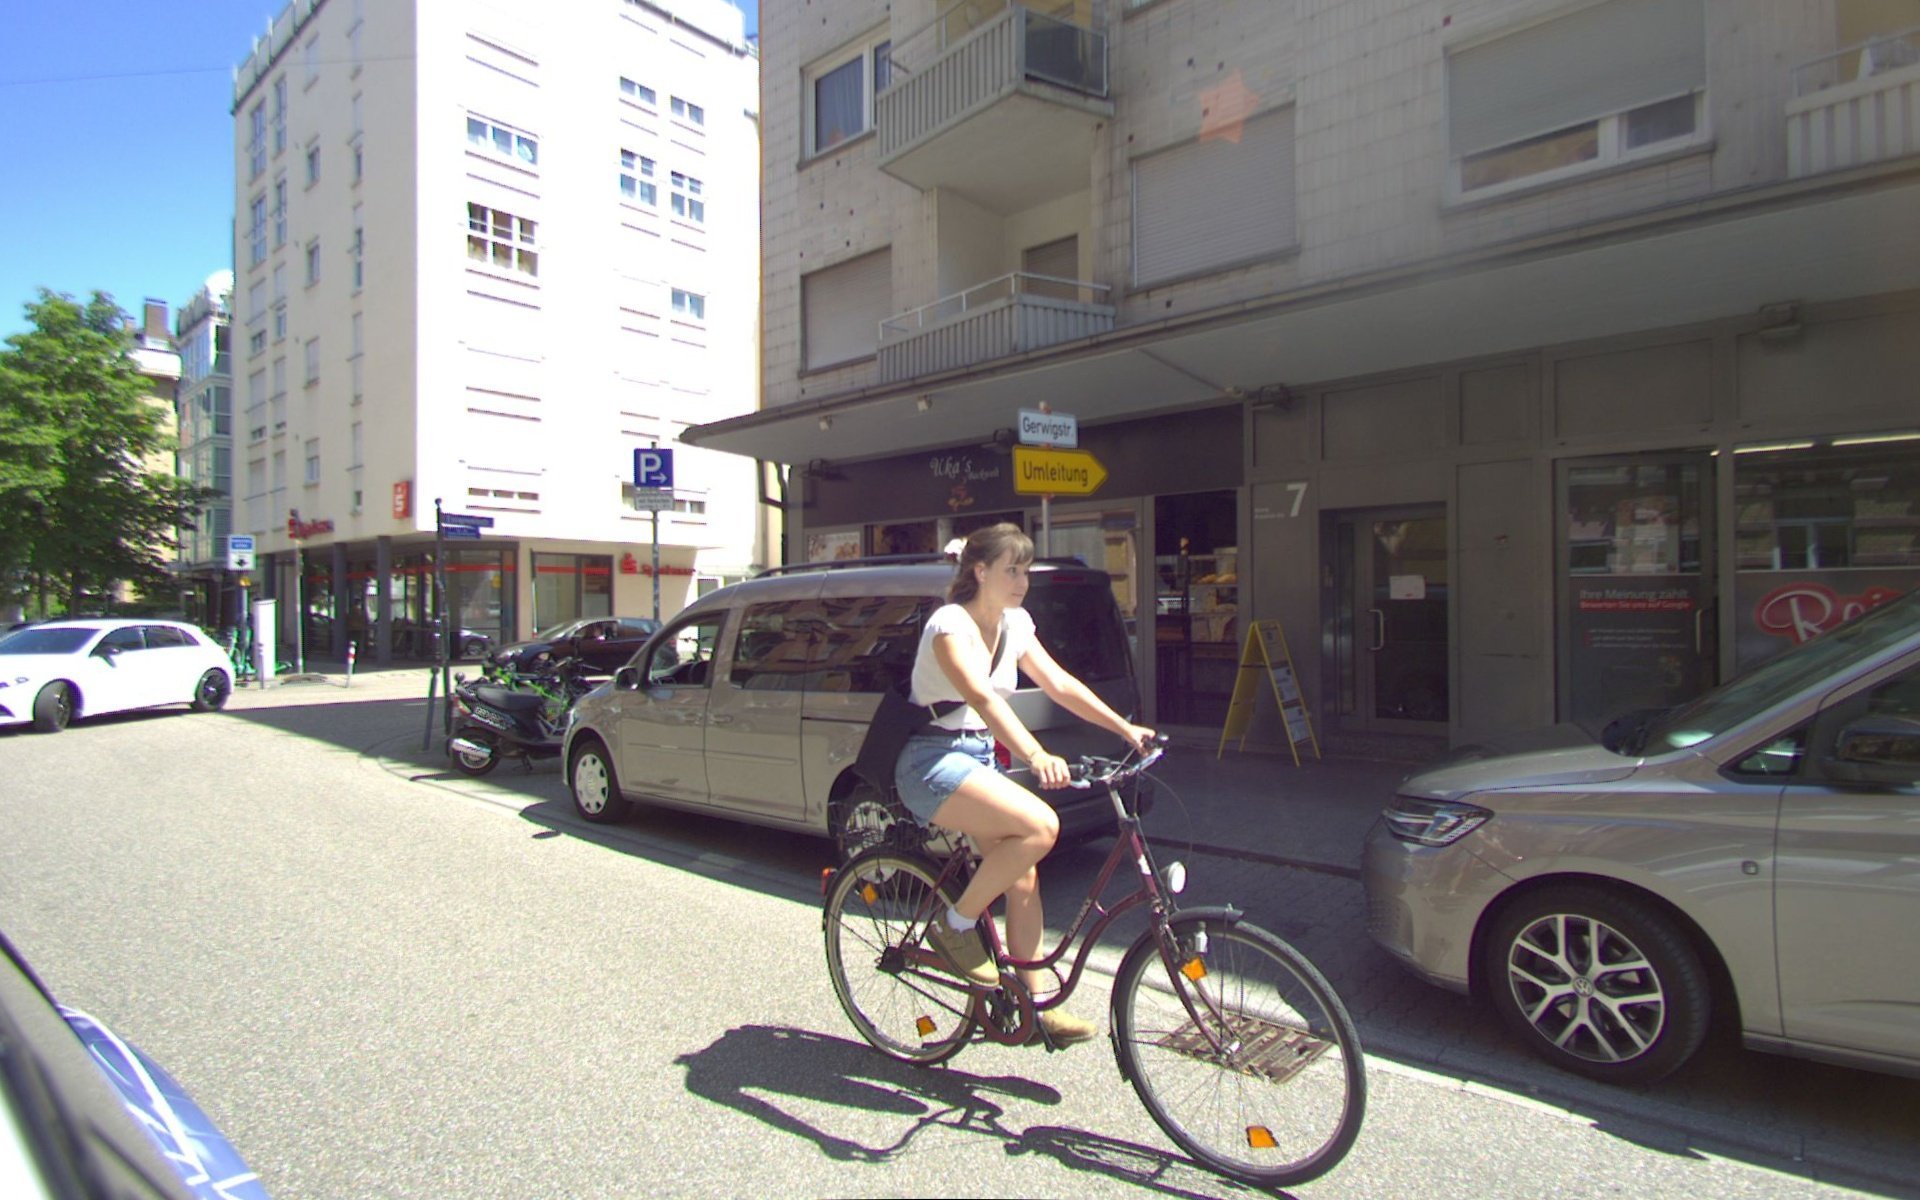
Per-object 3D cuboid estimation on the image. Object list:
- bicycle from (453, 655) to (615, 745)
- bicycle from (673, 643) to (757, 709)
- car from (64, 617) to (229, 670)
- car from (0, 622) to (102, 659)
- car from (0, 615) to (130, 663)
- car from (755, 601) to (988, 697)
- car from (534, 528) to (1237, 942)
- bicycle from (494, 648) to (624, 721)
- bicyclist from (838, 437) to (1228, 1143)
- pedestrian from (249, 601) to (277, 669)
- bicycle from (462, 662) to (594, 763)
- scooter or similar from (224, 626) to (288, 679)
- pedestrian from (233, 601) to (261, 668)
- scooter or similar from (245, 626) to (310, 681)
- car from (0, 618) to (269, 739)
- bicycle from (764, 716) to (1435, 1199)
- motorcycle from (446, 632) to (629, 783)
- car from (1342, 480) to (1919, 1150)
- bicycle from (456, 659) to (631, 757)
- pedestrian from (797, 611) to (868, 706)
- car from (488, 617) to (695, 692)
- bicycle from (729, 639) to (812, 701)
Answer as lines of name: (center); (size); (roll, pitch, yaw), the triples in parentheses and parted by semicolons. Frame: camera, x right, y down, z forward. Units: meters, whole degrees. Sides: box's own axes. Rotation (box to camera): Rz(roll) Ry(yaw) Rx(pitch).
bicycle: (-4.953, 1.150, 11.813); (1.684, 0.964, 0.411); (-1, 0, -6)
bicycle: (-3.929, 1.193, 16.164); (1.711, 0.964, 0.405); (-1, 0, 42)
car: (-25.550, 1.314, 31.872); (1.651, 1.540, 3.835); (-2, -1, 40)
car: (-39.490, 1.714, 43.471); (1.651, 1.507, 3.835); (-2, -1, 40)
car: (-35.240, 1.497, 39.786); (1.651, 1.760, 3.835); (-2, -1, 40)
car: (-1.537, 0.865, 18.629); (1.999, 1.441, 3.946); (-6, -2, 41)
car: (-0.831, 0.634, 6.803); (4.898, 1.843, 1.770); (-2, 0, 41)
bicycle: (-5.555, 1.164, 14.035); (1.692, 0.964, 0.409); (-1, 0, 9)
bicyclist: (0.197, 0.470, 3.031); (0.978, 1.719, 0.616); (-2, -1, 41)
pedestrian: (-22.211, 1.101, 32.257); (0.599, 2.141, 0.496); (0, -1, -13)
bicycle: (-4.438, 1.147, 10.426); (1.194, 0.964, 0.337); (-1, 0, -6)
scooter or similar: (-16.243, 1.202, 23.353); (0.289, 1.176, 1.177); (-2, -1, 39)
pedestrian: (-23.039, 1.120, 32.701); (0.605, 2.141, 0.492); (-1, -1, 22)
scooter or similar: (-15.334, 1.191, 22.748); (0.289, 1.176, 1.177); (-2, -1, 39)
car: (-12.123, 0.979, 14.123); (1.793, 1.436, 4.233); (-1, -1, 6)
bicycle: (0.270, 0.972, 2.972); (1.939, 1.100, 0.596); (-1, -1, 41)
motorcycle: (-3.931, 0.984, 9.508); (1.530, 1.293, 0.394); (-1, 1, -17)
car: (3.796, 0.558, 2.942); (4.693, 1.825, 1.771); (-2, 0, 39)
bicycle: (-4.472, 1.149, 10.926); (1.684, 0.964, 0.411); (-1, 0, -6)
pedestrian: (-1.644, 0.740, 13.083); (0.698, 1.189, 0.585); (-2, -1, 39)
car: (-7.931, 1.110, 21.959); (3.834, 1.436, 1.816); (0, -1, -45)
bicycle: (-3.213, 1.164, 17.087); (1.711, 0.964, 0.405); (-1, 0, 42)
